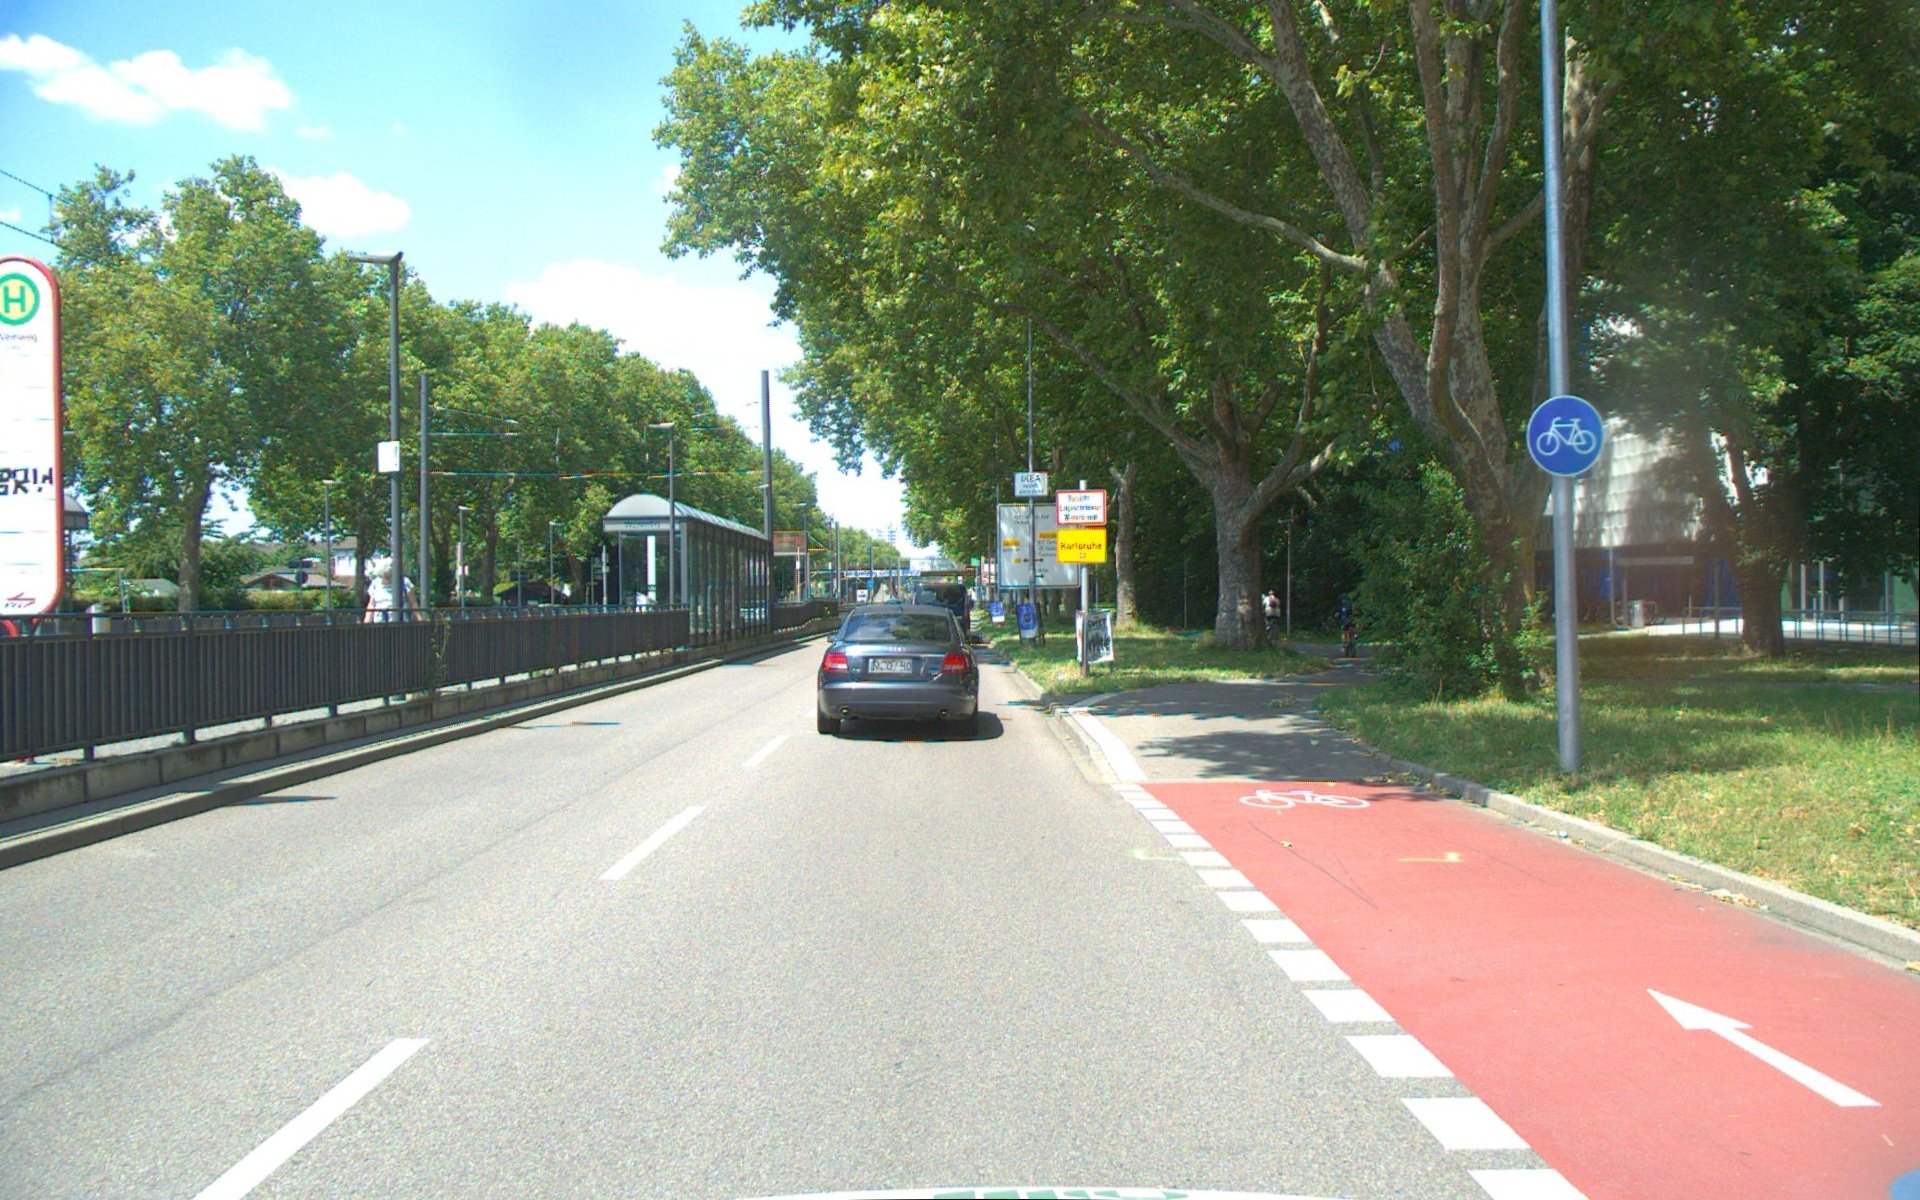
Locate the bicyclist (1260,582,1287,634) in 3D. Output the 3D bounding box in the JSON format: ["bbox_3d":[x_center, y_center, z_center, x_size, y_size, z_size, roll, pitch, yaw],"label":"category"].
[{"bbox_3d":[9.940,0.258,52.389,0.645,1.627,1.053,0,0,0],"label":"bicyclist"}]

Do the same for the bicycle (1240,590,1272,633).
[{"bbox_3d":[10.162,0.375,56.786,0.598,1.444,2.661,0,0,-1],"label":"bicycle"}]

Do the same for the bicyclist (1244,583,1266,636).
[{"bbox_3d":[10.068,0.314,56.464,0.585,1.776,0.843,0,0,0],"label":"bicyclist"}]

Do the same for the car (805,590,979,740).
[{"bbox_3d":[-0.690,0.668,19.342,1.804,1.510,4.001,0,1,1],"label":"car"}]

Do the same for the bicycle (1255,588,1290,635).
[{"bbox_3d":[9.912,0.347,52.519,0.598,1.444,2.661,0,0,-1],"label":"bicycle"}]

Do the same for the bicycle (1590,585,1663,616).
[{"bbox_3d":[25.279,0.017,62.713,2.495,1.130,0.758,0,0,-5],"label":"bicycle"}]

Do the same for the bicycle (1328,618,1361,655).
[{"bbox_3d":[10.126,0.948,43.586,0.631,0.902,2.025,0,0,7],"label":"bicycle"}]

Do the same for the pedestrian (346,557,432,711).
[{"bbox_3d":[-6.438,0.373,18.671,0.717,1.694,0.742,0,0,-1],"label":"pedestrian"}]

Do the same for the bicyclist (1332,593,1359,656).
[{"bbox_3d":[10.133,0.631,43.498,0.609,1.638,0.817,0,0,6],"label":"bicyclist"}]

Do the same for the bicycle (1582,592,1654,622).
[{"bbox_3d":[25.331,0.269,63.674,2.495,1.130,0.758,0,0,-5],"label":"bicycle"}]

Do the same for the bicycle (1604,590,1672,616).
[{"bbox_3d":[25.267,0.114,61.656,2.270,0.977,0.758,0,0,-5],"label":"bicycle"}]

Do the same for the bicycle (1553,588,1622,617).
[{"bbox_3d":[25.021,0.093,65.977,2.495,1.130,0.758,0,0,-5],"label":"bicycle"}]

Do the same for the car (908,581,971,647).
[{"bbox_3d":[-0.621,0.436,52.705,1.810,1.994,4.145,1,0,2],"label":"car"}]

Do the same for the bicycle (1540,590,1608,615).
[{"bbox_3d":[24.958,0.099,67.247,2.495,0.987,0.758,0,0,-5],"label":"bicycle"}]

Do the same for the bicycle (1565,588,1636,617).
[{"bbox_3d":[25.070,0.087,64.747,2.495,1.130,0.758,0,0,-5],"label":"bicycle"}]
